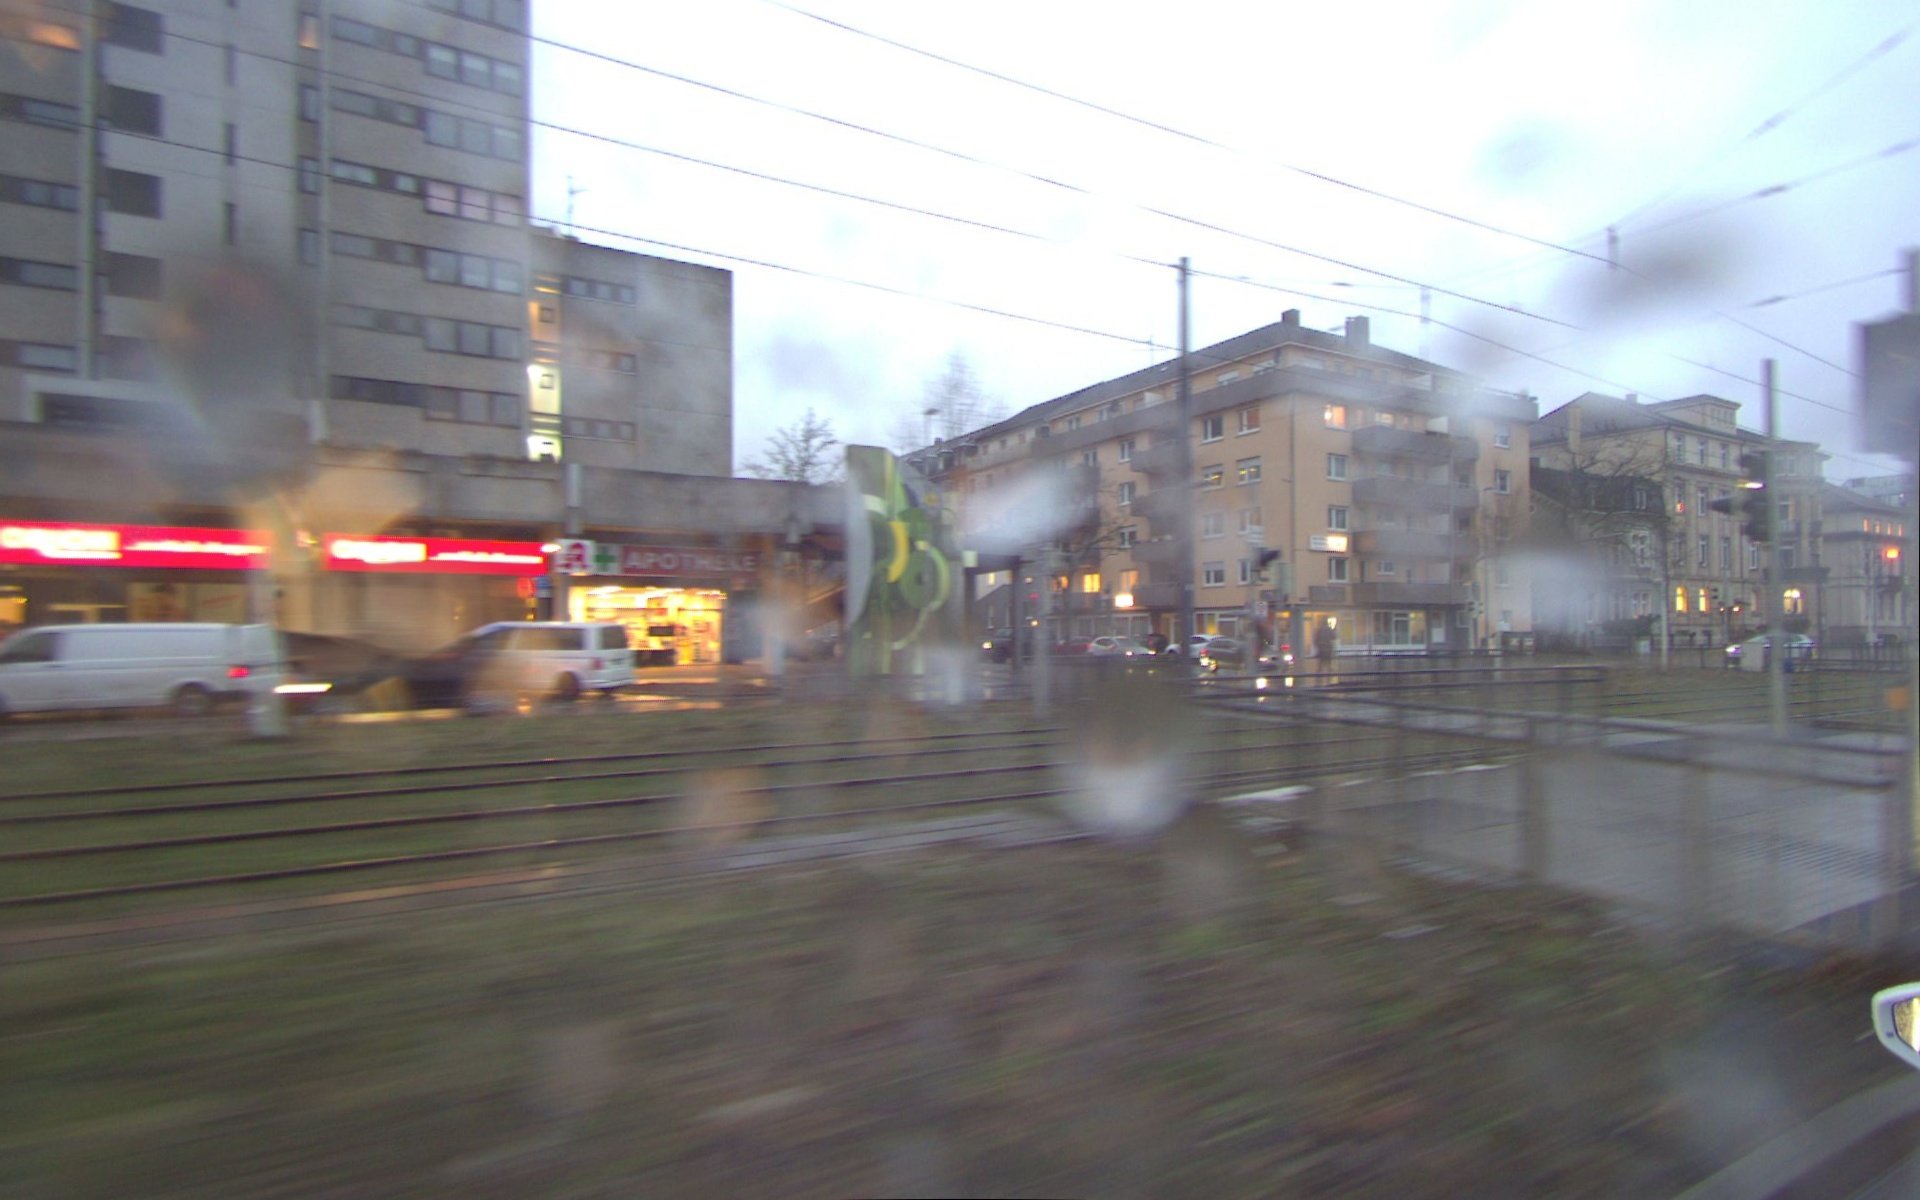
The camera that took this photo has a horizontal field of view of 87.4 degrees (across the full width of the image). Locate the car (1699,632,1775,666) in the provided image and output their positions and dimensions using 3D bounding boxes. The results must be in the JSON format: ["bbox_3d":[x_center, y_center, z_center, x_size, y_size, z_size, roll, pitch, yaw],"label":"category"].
[{"bbox_3d":[39.975,2.516,51.666,3.955,1.606,1.792,2,0,-31],"label":"car"}]

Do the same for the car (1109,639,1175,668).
[{"bbox_3d":[10.545,3.104,58.426,1.738,1.572,3.807,1,-2,-31],"label":"car"}]

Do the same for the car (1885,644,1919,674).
[{"bbox_3d":[56.184,3.437,58.905,3.955,1.606,1.792,2,0,-31],"label":"car"}]

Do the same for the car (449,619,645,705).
[{"bbox_3d":[-10.963,1.592,26.781,4.480,2.040,2.001,1,0,13],"label":"car"}]

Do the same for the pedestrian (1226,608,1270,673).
[{"bbox_3d":[6.789,0.954,23.688,0.625,1.509,0.784,1,-2,-37],"label":"pedestrian"}]

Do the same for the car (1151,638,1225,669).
[{"bbox_3d":[12.213,2.859,54.013,1.758,1.572,3.807,1,-2,-31],"label":"car"}]

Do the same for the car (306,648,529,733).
[{"bbox_3d":[-10.640,1.718,19.840,3.725,1.468,1.664,1,-2,-32],"label":"car"}]

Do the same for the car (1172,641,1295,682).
[{"bbox_3d":[11.453,2.552,42.208,4.625,1.565,1.994,-1,-2,34],"label":"car"}]

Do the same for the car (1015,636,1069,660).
[{"bbox_3d":[5.459,3.181,67.234,1.738,1.572,3.807,1,-2,-31],"label":"car"}]

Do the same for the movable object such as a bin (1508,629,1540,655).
[{"bbox_3d":[33.552,2.476,59.799,1.409,1.500,1.101,0,-2,-33],"label":"movable object such as a bin"}]

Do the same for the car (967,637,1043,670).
[{"bbox_3d":[2.292,2.676,50.931,3.596,1.622,1.610,1,-2,-30],"label":"car"}]

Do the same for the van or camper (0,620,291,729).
[{"bbox_3d":[-17.775,1.515,21.530,5.588,2.125,1.984,0,-1,-31],"label":"van or camper"}]

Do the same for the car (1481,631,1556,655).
[{"bbox_3d":[36.641,2.828,65.945,1.813,1.425,3.966,2,-1,-31],"label":"car"}]

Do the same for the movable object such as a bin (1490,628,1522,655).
[{"bbox_3d":[32.050,2.434,58.995,1.409,1.581,1.101,0,-2,-33],"label":"movable object such as a bin"}]

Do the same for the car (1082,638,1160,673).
[{"bbox_3d":[8.098,2.766,50.866,1.667,1.531,3.964,1,0,-33],"label":"car"}]

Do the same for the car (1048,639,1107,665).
[{"bbox_3d":[7.407,3.273,63.473,1.738,1.572,3.807,1,-2,-31],"label":"car"}]
